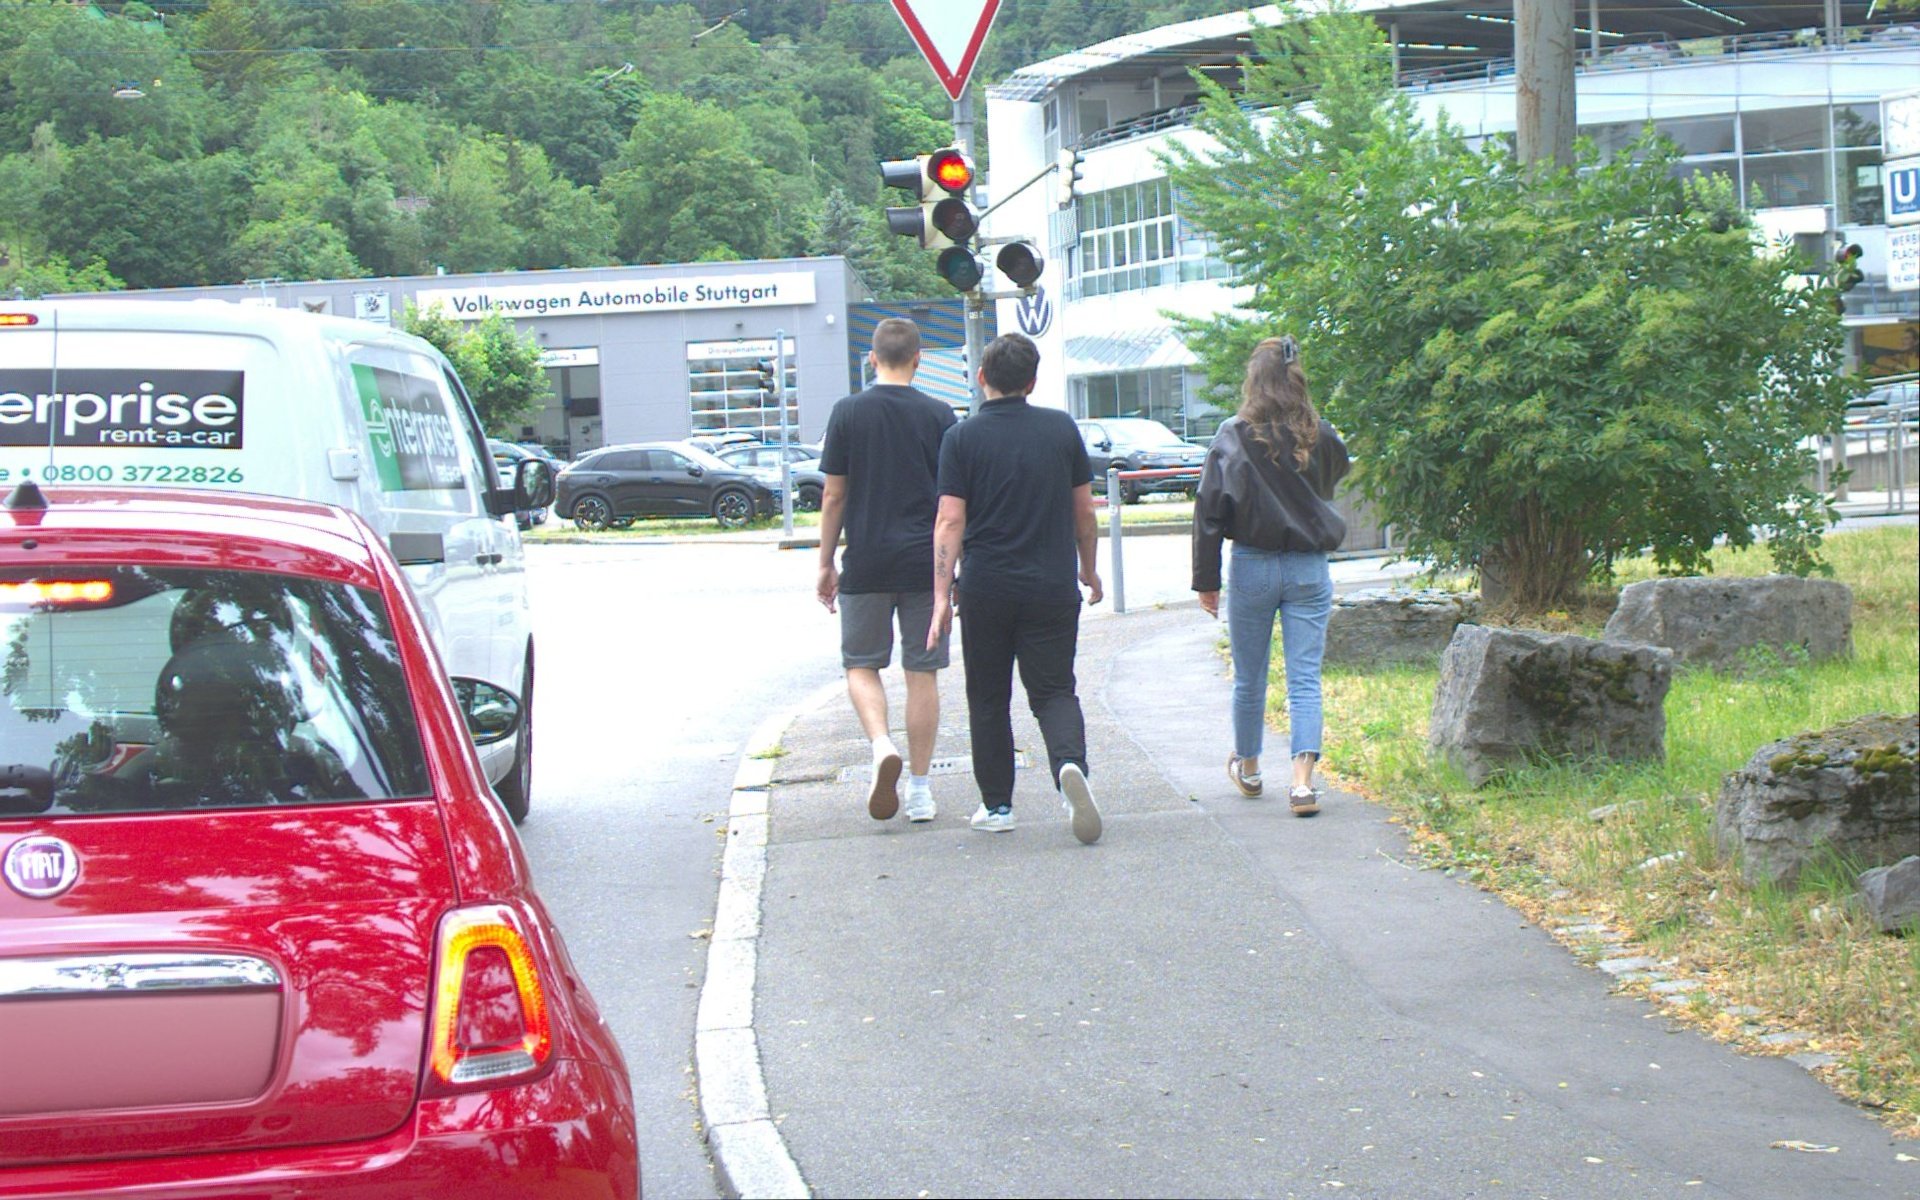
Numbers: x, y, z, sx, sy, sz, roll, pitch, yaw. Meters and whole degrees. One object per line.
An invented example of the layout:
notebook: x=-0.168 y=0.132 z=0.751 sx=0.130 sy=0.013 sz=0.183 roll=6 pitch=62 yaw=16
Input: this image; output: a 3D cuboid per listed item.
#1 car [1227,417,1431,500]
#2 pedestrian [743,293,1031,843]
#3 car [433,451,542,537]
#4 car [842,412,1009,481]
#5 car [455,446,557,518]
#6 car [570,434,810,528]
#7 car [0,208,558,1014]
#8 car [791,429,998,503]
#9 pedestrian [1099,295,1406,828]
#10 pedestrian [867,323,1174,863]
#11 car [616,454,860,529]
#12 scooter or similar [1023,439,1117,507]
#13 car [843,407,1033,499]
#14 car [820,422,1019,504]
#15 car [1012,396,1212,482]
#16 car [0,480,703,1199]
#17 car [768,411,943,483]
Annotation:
car: x=7.229 y=-2.768 z=67.705 sx=1.770 sy=1.495 sz=4.022 roll=-4 pitch=3 yaw=-34
pedestrian: x=-0.268 y=-0.127 z=12.176 sx=0.693 sy=1.850 sz=0.788 roll=-4 pitch=3 yaw=-22
car: x=-10.792 y=-2.451 z=78.724 sx=1.993 sy=1.809 sz=4.001 roll=-3 pitch=3 yaw=-2
car: x=-1.013 y=-4.525 z=101.405 sx=4.796 sy=1.796 sz=1.776 roll=-3 pitch=3 yaw=-1
car: x=-10.348 y=-2.724 z=78.645 sx=1.770 sy=1.528 sz=4.091 roll=-3 pitch=3 yaw=-1
car: x=-4.816 y=-2.131 z=61.570 sx=3.871 sy=1.495 sz=1.775 roll=-2 pitch=3 yaw=14
car: x=-2.623 y=-0.048 z=11.534 sx=1.989 sy=2.099 sz=4.762 roll=-3 pitch=3 yaw=-1
car: x=-1.543 y=-3.183 z=81.464 sx=4.796 sy=1.528 sz=1.776 roll=-3 pitch=3 yaw=-1
pedestrian: x=0.994 y=-0.146 z=11.794 sx=0.693 sy=1.733 sz=0.788 roll=-4 pitch=3 yaw=-22
pedestrian: x=0.193 y=-0.039 z=11.481 sx=0.693 sy=1.708 sz=0.788 roll=-4 pitch=3 yaw=-22
car: x=-4.569 y=-2.247 z=70.890 sx=4.673 sy=1.323 sz=1.775 roll=-2 pitch=3 yaw=11
scooter or similar: x=2.020 y=-2.326 z=62.950 sx=1.668 sy=1.173 sz=0.467 roll=-2 pitch=3 yaw=4
car: x=-0.580 y=-3.831 z=89.588 sx=4.796 sy=2.149 sz=2.234 roll=-3 pitch=3 yaw=-1
car: x=-1.012 y=-3.403 z=85.041 sx=4.796 sy=1.796 sz=1.776 roll=-3 pitch=3 yaw=-1
car: x=2.904 y=-3.090 z=66.250 sx=1.770 sy=1.495 sz=3.881 roll=-4 pitch=3 yaw=-36
car: x=-1.552 y=0.553 z=5.790 sx=1.638 sy=1.451 sz=3.432 roll=-2 pitch=2 yaw=-14
car: x=-2.919 y=-4.287 z=96.542 sx=4.796 sy=1.796 sz=1.776 roll=-3 pitch=3 yaw=-1
